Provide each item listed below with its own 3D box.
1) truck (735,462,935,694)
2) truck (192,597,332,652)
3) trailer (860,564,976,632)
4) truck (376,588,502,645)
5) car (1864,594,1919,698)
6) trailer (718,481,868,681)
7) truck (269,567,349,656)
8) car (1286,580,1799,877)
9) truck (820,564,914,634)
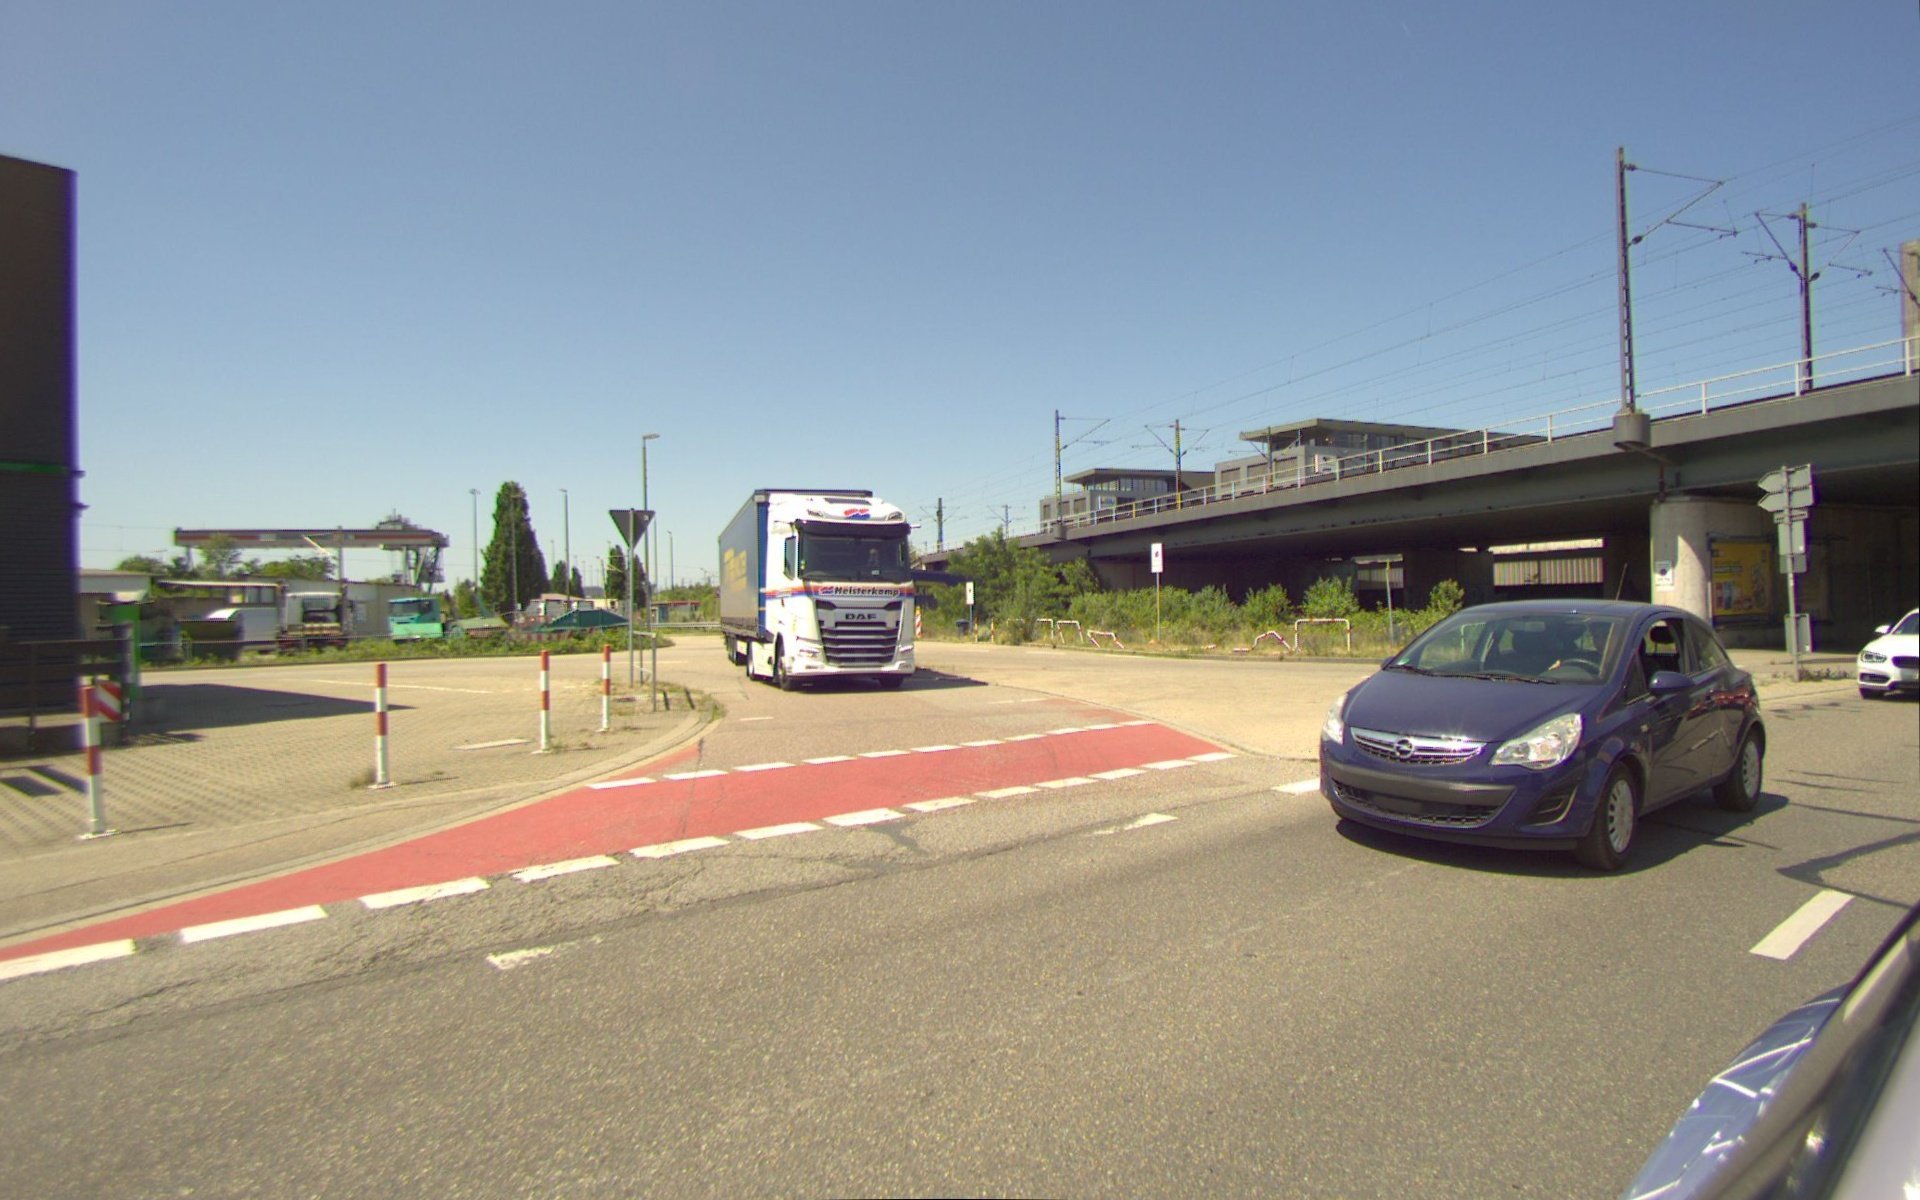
[{"bbox_3d":[-2.827,-0.425,21.223,2.523,4.153,5.772,0,0,-25],"label":"truck"},{"bbox_3d":[-38.899,1.286,56.625,2.618,2.825,6.070,0,0,20],"label":"truck"},{"bbox_3d":[-2.583,-0.188,67.567,2.561,4.176,9.932,-1,0,32],"label":"trailer"},{"bbox_3d":[-33.049,0.976,64.580,2.764,3.411,7.520,-1,0,16],"label":"truck"},{"bbox_3d":[15.452,0.678,15.328,3.975,1.461,1.764,0,1,-35],"label":"car"},{"bbox_3d":[-5.094,-0.328,27.930,2.447,4.142,13.931,-1,-1,-16],"label":"trailer"},{"bbox_3d":[-27.562,0.455,42.977,2.668,3.424,7.406,0,0,-32],"label":"truck"},{"bbox_3d":[4.050,0.644,6.823,3.819,1.462,1.650,0,-1,-37],"label":"car"},{"bbox_3d":[-5.698,-0.089,62.654,2.574,4.089,6.134,-1,0,33],"label":"truck"}]
